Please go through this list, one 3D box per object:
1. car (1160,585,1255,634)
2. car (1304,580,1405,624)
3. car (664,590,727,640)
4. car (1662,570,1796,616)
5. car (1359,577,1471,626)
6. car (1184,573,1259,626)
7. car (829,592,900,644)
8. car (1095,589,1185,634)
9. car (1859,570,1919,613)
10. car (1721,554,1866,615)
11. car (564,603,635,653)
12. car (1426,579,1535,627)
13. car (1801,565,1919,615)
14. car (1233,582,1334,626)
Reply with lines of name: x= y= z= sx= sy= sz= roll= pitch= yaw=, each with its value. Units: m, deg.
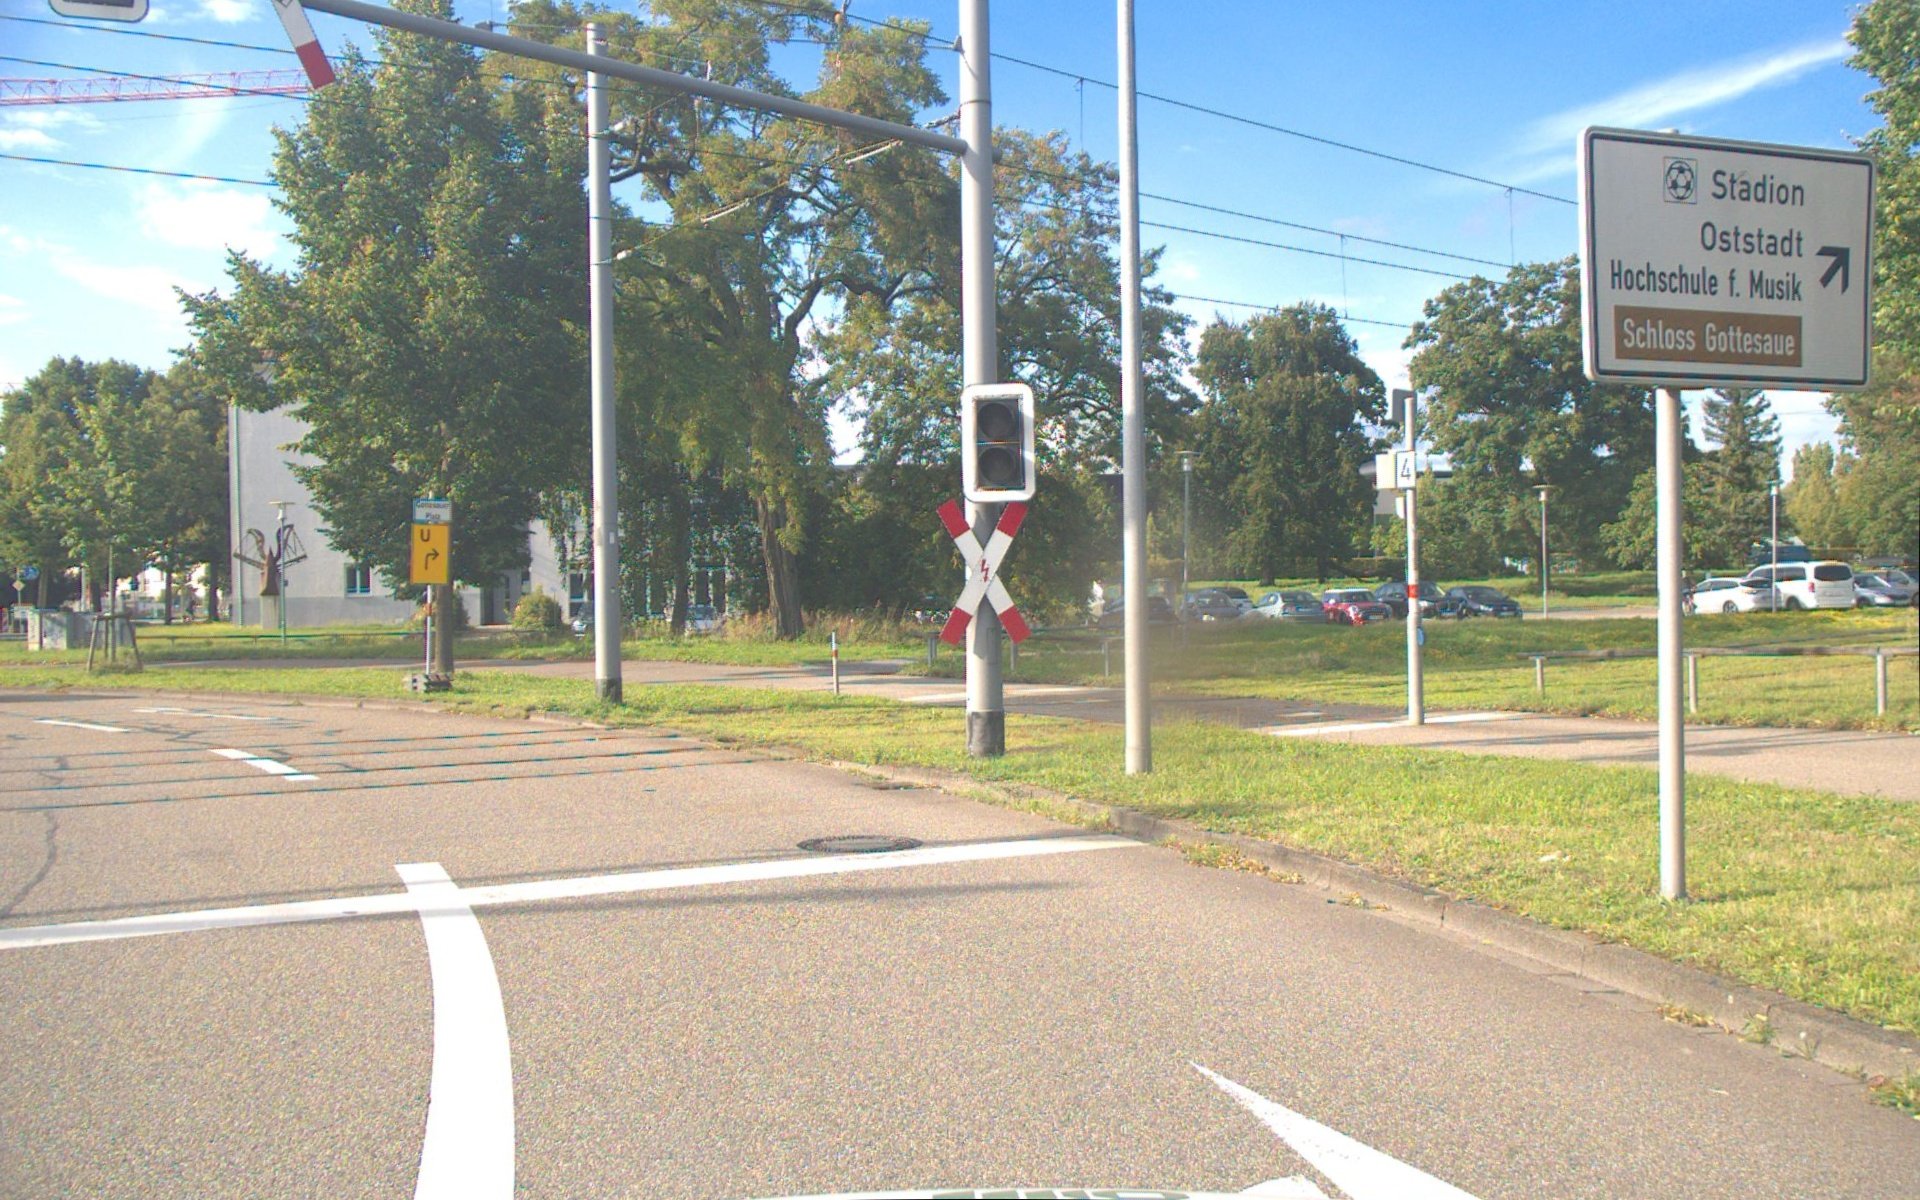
car: x=8.215 y=0.303 z=55.288 sx=1.821 sy=1.542 sz=4.738 roll=-1 pitch=0 yaw=-9
car: x=13.407 y=0.073 z=56.477 sx=1.821 sy=1.386 sz=4.460 roll=-1 pitch=0 yaw=-9
car: x=-8.342 y=0.444 z=52.324 sx=1.821 sy=1.465 sz=4.724 roll=-1 pitch=0 yaw=-9
car: x=27.203 y=-0.236 z=58.667 sx=1.825 sy=1.542 sz=4.449 roll=-1 pitch=0 yaw=-16
car: x=15.498 y=0.042 z=56.663 sx=1.821 sy=1.542 sz=4.935 roll=-1 pitch=0 yaw=-9
car: x=10.678 y=0.008 z=67.973 sx=1.836 sy=2.049 sz=4.803 roll=1 pitch=-1 yaw=-7
car: x=-3.103 y=0.558 z=52.944 sx=1.821 sy=1.542 sz=4.724 roll=-1 pitch=0 yaw=-9
car: x=5.900 y=0.356 z=54.770 sx=1.821 sy=1.383 sz=4.724 roll=-1 pitch=0 yaw=-9
car: x=34.948 y=-0.330 z=60.357 sx=1.989 sy=1.542 sz=4.111 roll=-1 pitch=0 yaw=-1
car: x=29.838 y=-0.534 z=59.428 sx=2.265 sy=2.042 sz=5.107 roll=-1 pitch=0 yaw=-6
car: x=-11.173 y=0.836 z=51.515 sx=1.821 sy=1.405 sz=4.506 roll=-1 pitch=0 yaw=-9
car: x=17.973 y=0.098 z=57.344 sx=1.821 sy=1.542 sz=4.460 roll=-1 pitch=0 yaw=-9
car: x=32.788 y=-0.364 z=60.135 sx=2.053 sy=1.703 sz=4.468 roll=-1 pitch=0 yaw=-1
car: x=10.919 y=0.130 z=56.167 sx=1.821 sy=1.382 sz=4.824 roll=-1 pitch=0 yaw=-9
